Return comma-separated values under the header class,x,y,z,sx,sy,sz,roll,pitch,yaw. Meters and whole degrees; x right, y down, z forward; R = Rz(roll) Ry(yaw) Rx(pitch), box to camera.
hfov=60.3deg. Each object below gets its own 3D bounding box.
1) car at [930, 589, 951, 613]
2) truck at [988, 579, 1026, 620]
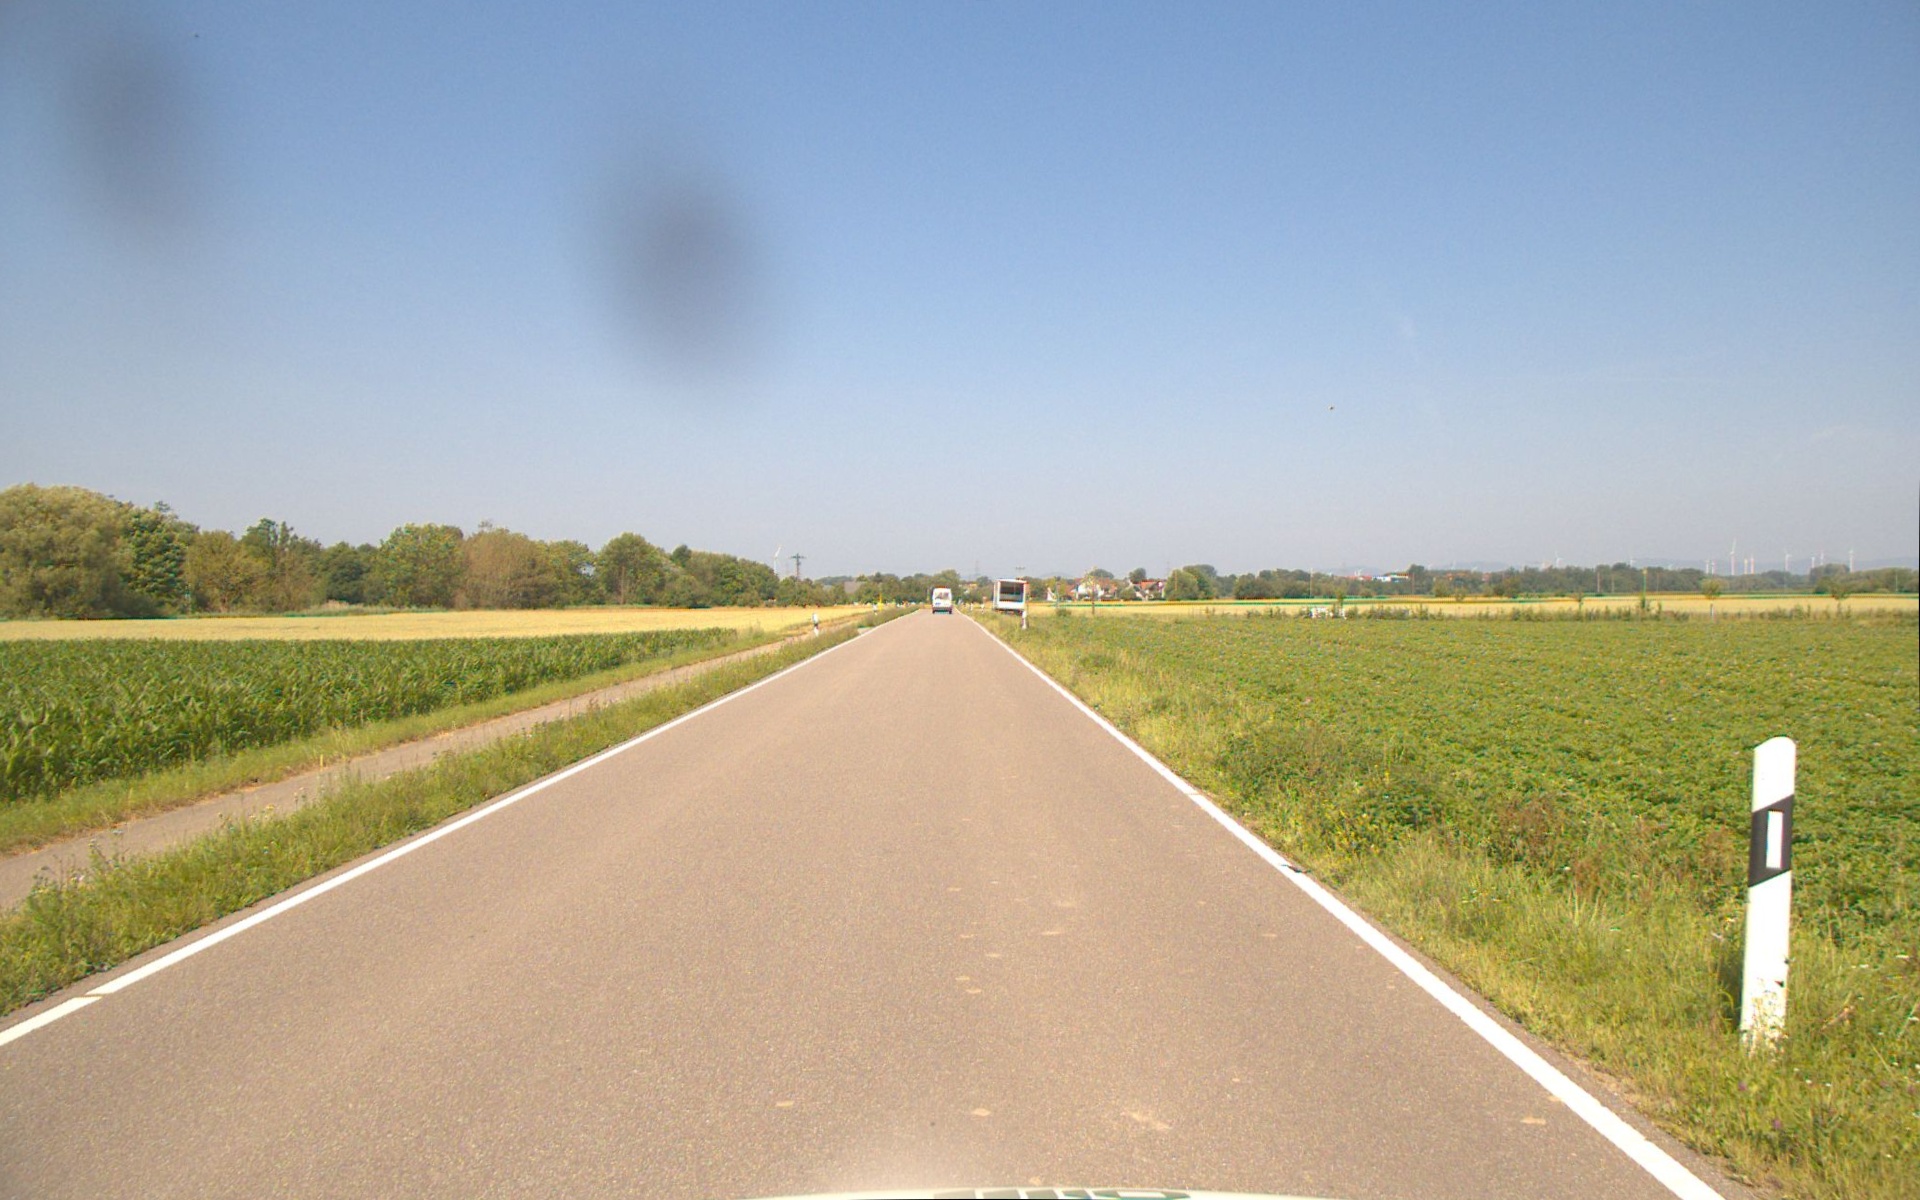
class,x,y,z,sx,sy,sz,roll,pitch,yaw
car,-1.998,0.088,167.919,2.064,2.344,5.494,1,0,-1
truck,3.556,-0.037,126.406,2.289,2.994,7.005,3,0,-3
